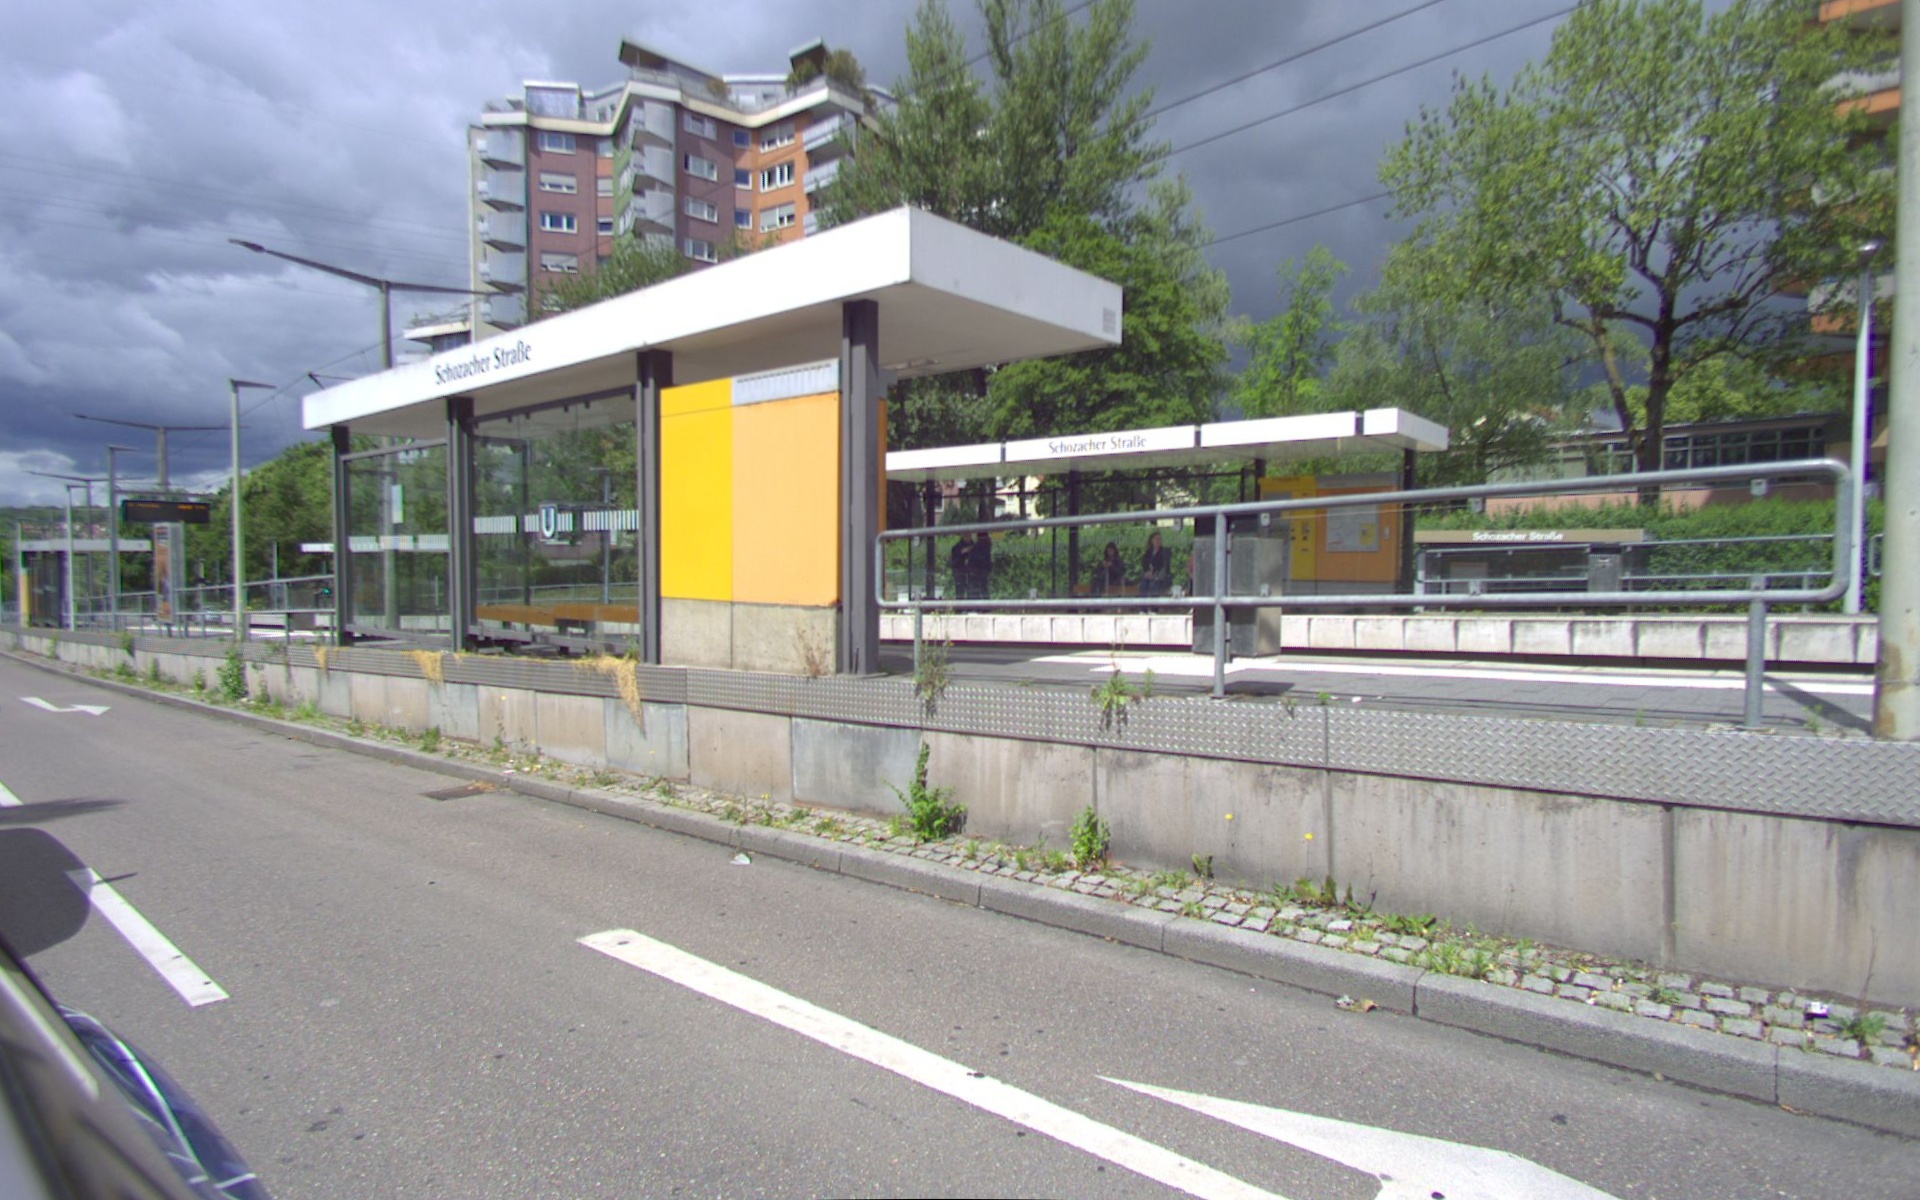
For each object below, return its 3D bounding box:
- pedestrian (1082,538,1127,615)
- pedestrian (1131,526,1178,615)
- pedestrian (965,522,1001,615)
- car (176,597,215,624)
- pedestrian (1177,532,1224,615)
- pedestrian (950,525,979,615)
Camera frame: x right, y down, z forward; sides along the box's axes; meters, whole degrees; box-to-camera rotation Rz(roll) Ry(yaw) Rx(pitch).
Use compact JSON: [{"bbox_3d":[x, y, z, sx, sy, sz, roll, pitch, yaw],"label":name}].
[{"bbox_3d":[2.496,-0.400,17.486,0.463,1.287,0.704,-1,0,40],"label":"pedestrian"},{"bbox_3d":[3.211,-0.479,16.686,0.463,1.428,0.704,-1,0,40],"label":"pedestrian"},{"bbox_3d":[0.435,-0.583,19.161,0.552,1.726,0.381,-1,0,45],"label":"pedestrian"},{"bbox_3d":[-60.453,0.832,79.997,4.000,2.029,1.714,-1,0,43],"label":"car"},{"bbox_3d":[3.835,-0.417,16.133,0.463,1.287,0.704,-1,0,40],"label":"pedestrian"},{"bbox_3d":[0.090,-0.578,19.759,0.348,1.726,0.427,-1,0,-44],"label":"pedestrian"}]
